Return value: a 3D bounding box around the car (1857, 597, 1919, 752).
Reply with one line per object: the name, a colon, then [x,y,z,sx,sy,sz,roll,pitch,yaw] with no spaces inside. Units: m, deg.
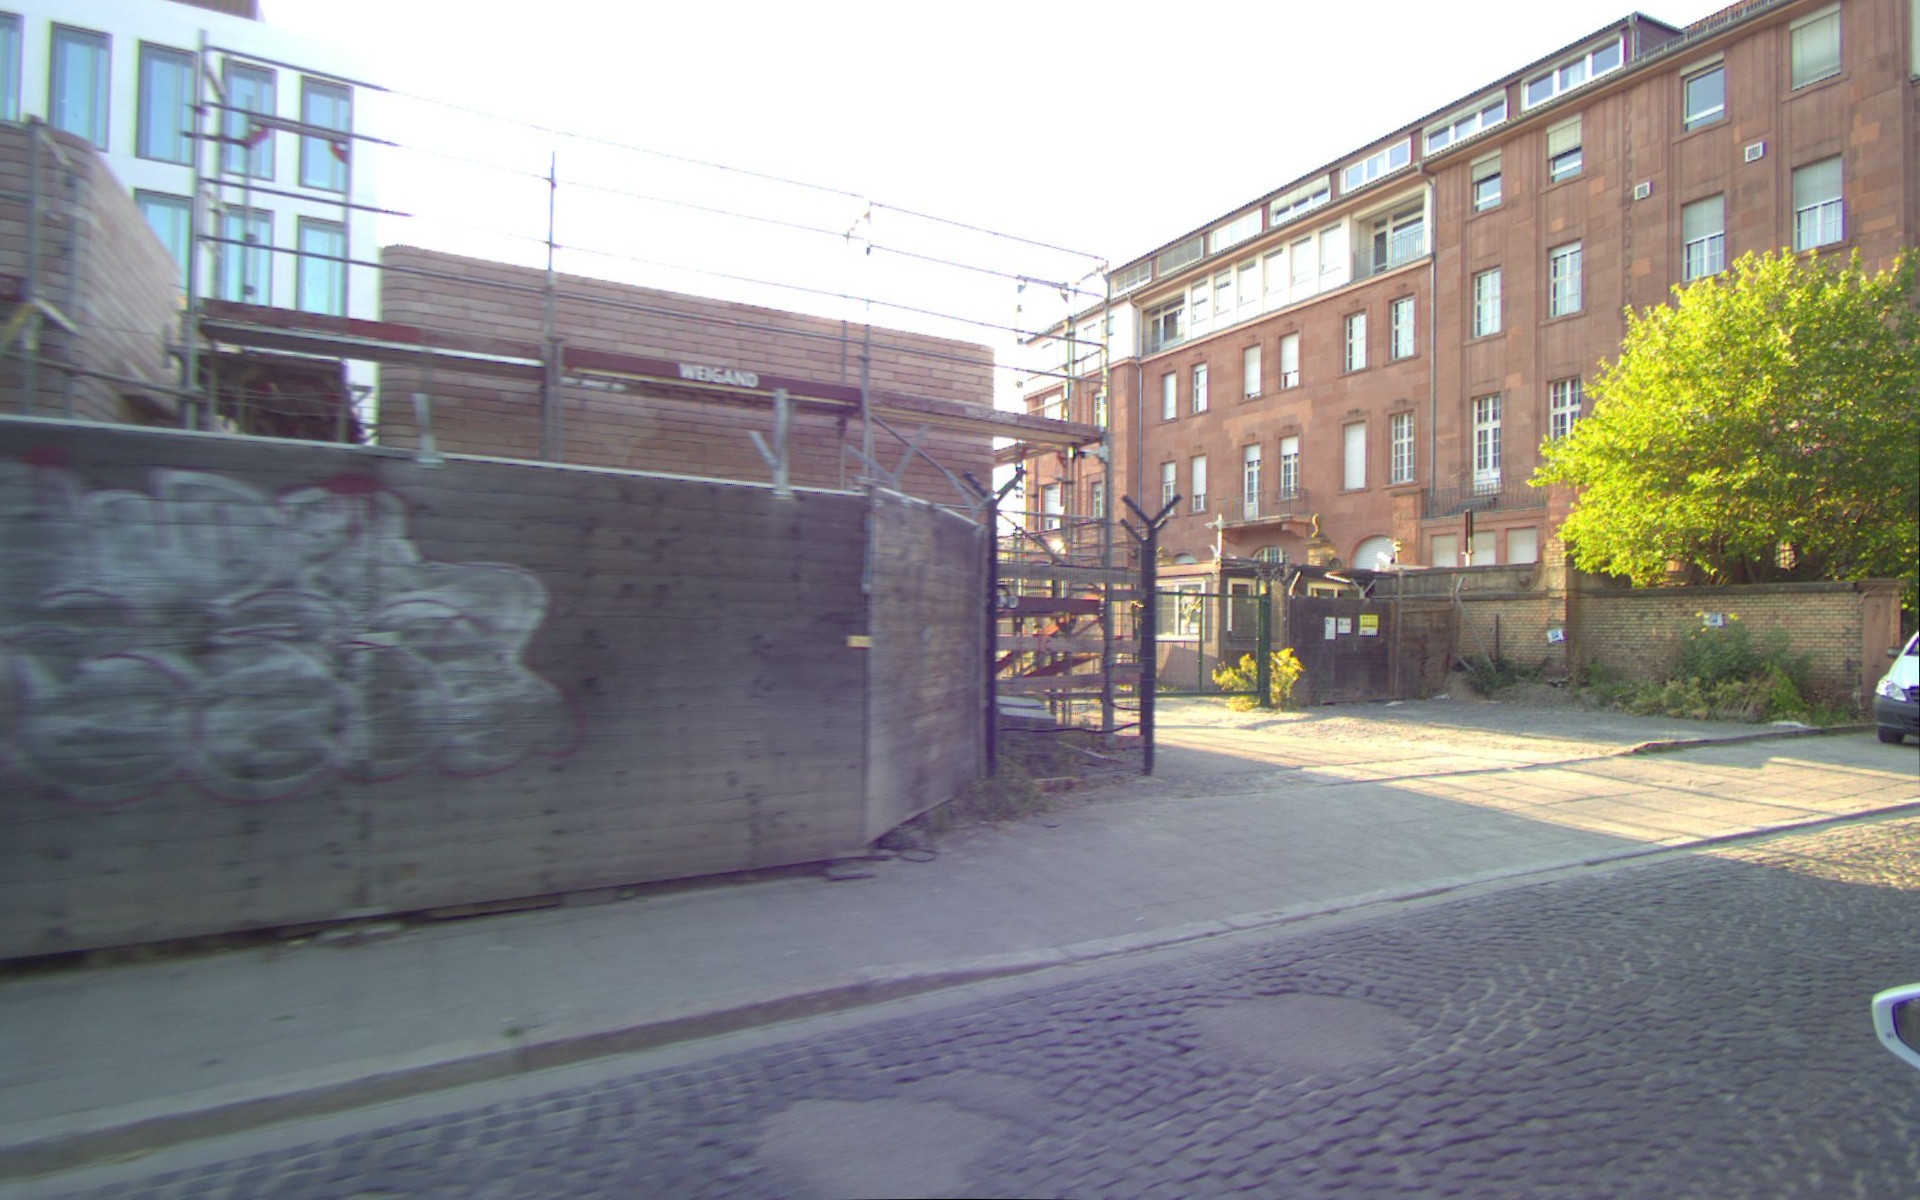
car: [15.060,1.110,14.399,5.168,2.040,1.872,3,-1,-32]
